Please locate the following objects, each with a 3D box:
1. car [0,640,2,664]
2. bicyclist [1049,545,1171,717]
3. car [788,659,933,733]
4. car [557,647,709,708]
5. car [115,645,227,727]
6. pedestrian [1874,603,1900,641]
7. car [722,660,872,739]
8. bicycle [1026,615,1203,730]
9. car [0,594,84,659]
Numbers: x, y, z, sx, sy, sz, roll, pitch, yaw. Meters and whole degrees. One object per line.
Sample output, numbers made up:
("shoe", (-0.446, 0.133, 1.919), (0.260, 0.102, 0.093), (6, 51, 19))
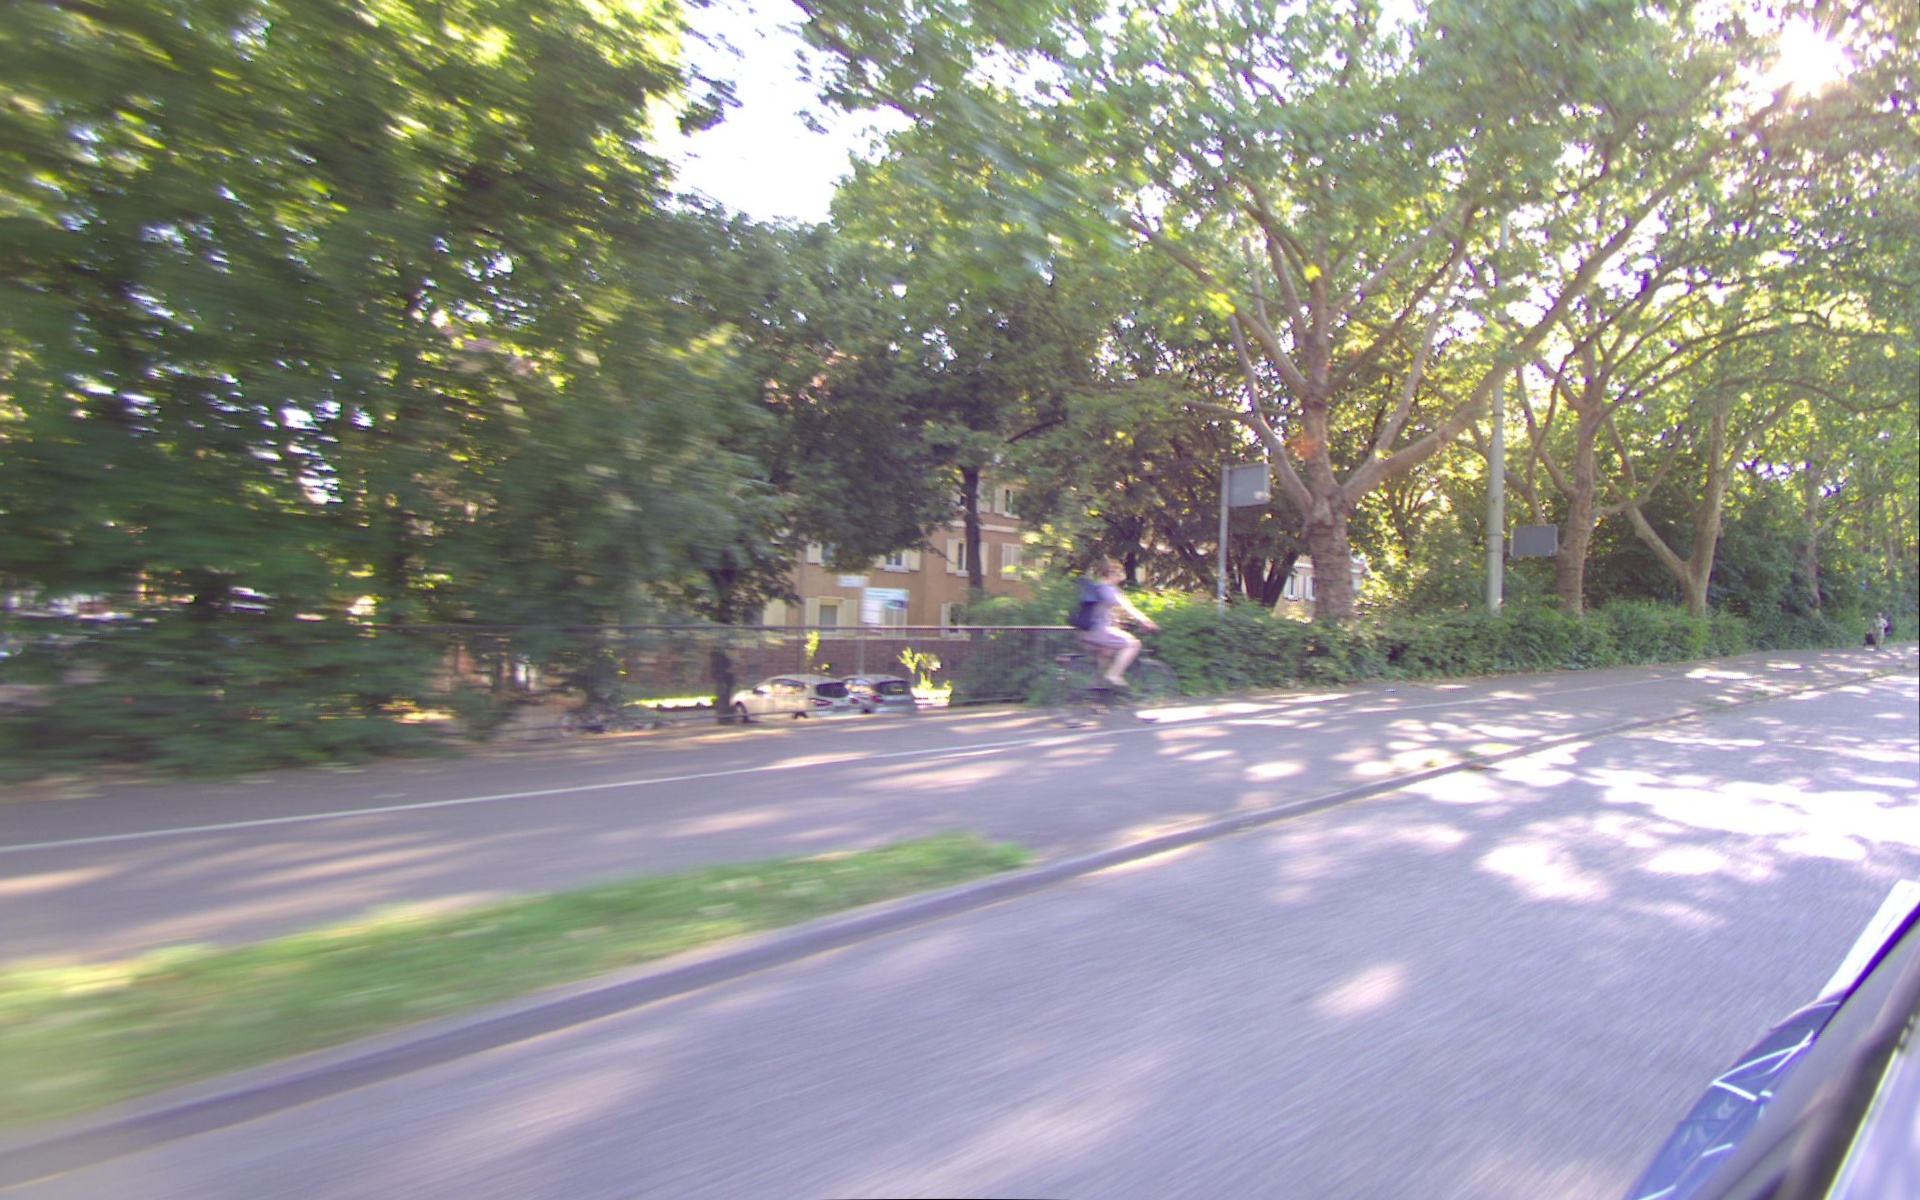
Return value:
("car", (-30.827, 2.087, 30.811), (1.766, 1.529, 4.001), (6, -1, -35))
("bicyclist", (1.608, 0.313, 10.852), (1.059, 1.750, 0.702), (2, 0, -34))
("car", (-2.924, 2.704, 29.376), (3.982, 1.534, 1.868), (5, 2, 39))
("car", (-9.834, 2.293, 30.591), (3.929, 1.529, 1.798), (2, 2, -41))
("car", (-18.244, 1.956, 23.561), (1.766, 1.530, 4.152), (6, -3, -35))
("pedestrian", (41.954, 0.999, 45.805), (0.911, 1.655, 0.650), (1, 3, -40))
("car", (-4.523, 2.666, 27.808), (3.982, 1.534, 1.868), (5, 2, 39))
("bicycle", (1.686, 0.749, 10.910), (1.892, 1.121, 0.702), (1, 0, -34))
("car", (-34.566, 0.955, 37.870), (2.085, 1.993, 4.622), (6, -1, -35))
